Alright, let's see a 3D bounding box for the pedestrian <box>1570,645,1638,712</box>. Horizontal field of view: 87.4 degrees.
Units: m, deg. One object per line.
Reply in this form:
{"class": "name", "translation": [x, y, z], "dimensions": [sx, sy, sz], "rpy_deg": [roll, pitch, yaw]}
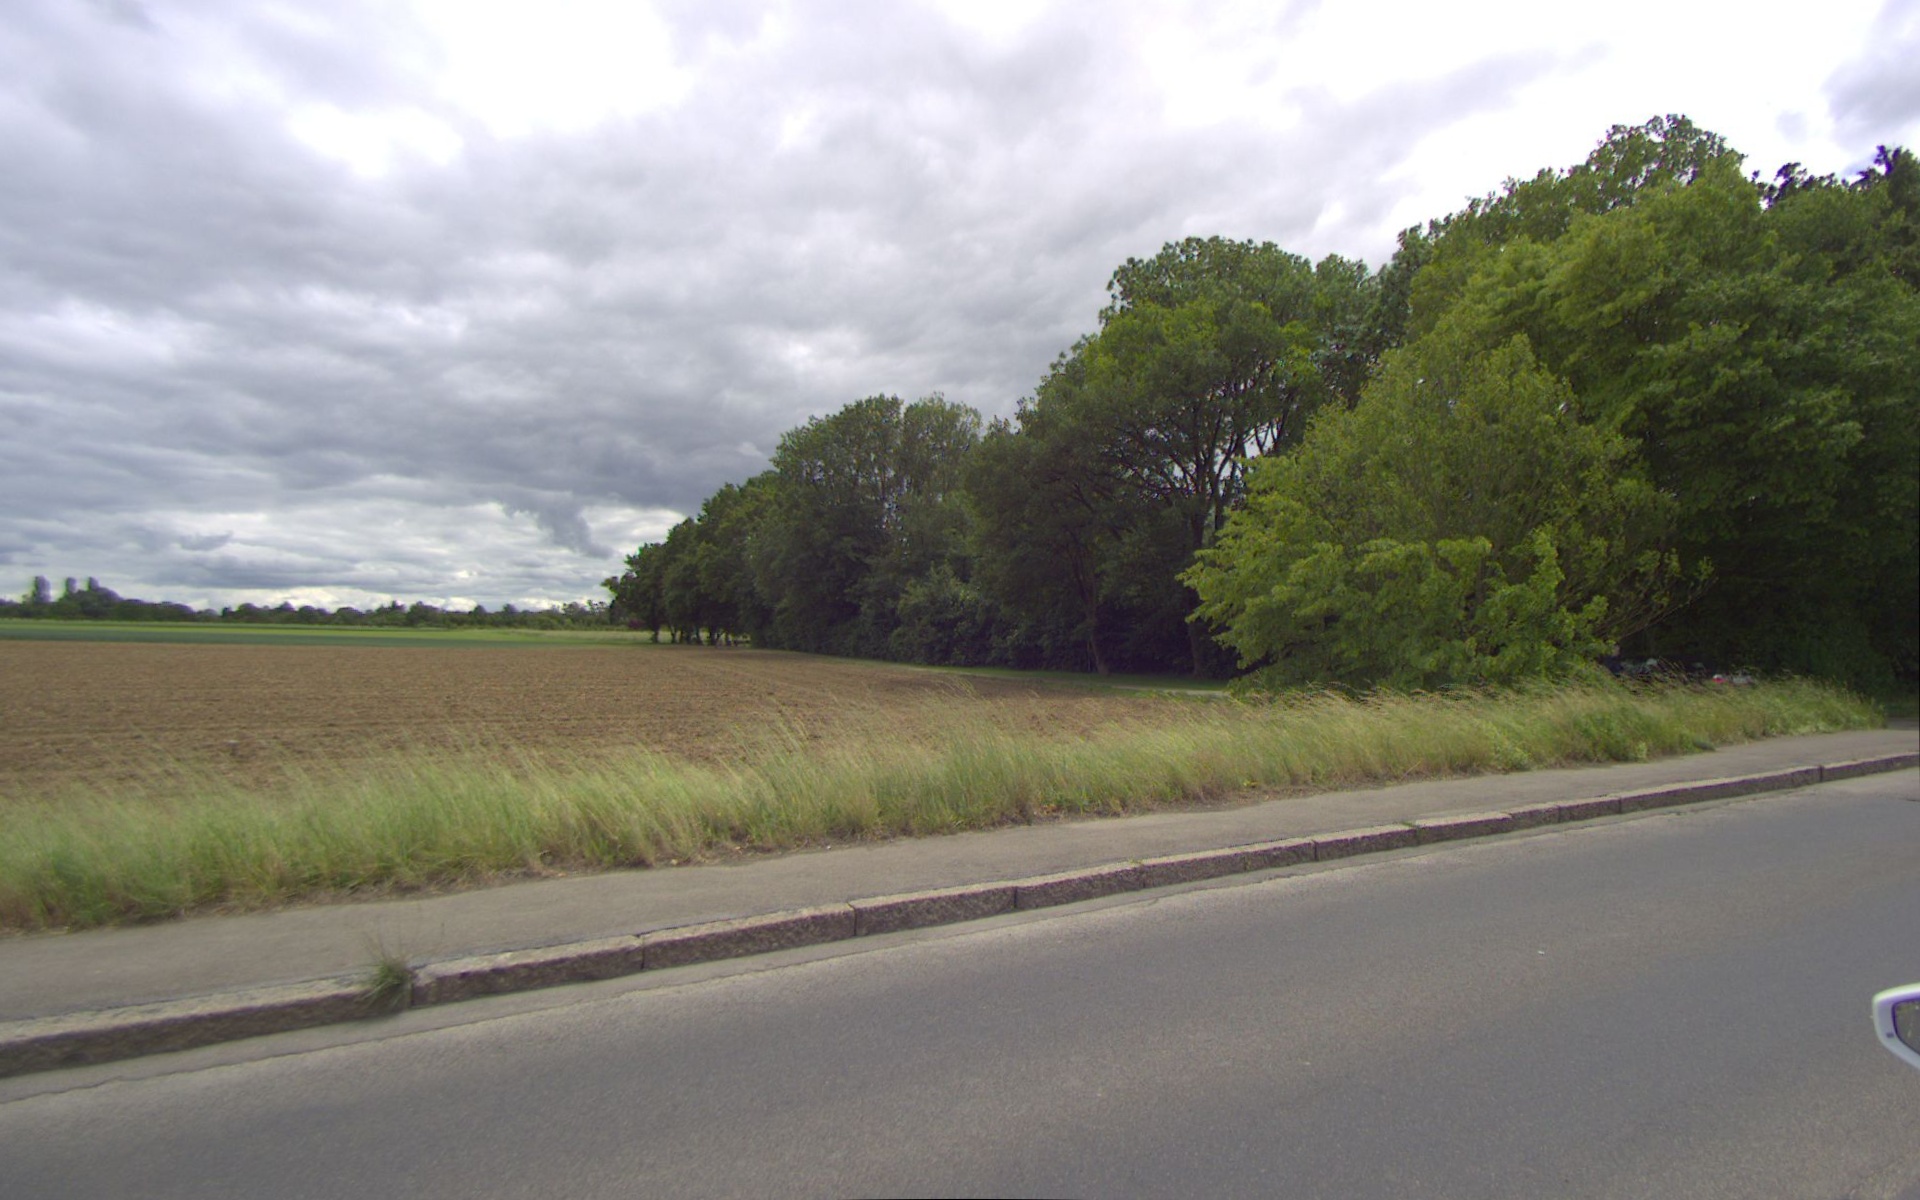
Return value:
{"class": "pedestrian", "translation": [15.263, 1.839, 23.823], "dimensions": [0.930, 1.550, 1.031], "rpy_deg": [1, -3, -29]}

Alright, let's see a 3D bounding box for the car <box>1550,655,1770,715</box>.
{"class": "car", "translation": [16.652, 1.999, 24.106], "dimensions": [1.723, 1.315, 3.973], "rpy_deg": [1, -4, -28]}
